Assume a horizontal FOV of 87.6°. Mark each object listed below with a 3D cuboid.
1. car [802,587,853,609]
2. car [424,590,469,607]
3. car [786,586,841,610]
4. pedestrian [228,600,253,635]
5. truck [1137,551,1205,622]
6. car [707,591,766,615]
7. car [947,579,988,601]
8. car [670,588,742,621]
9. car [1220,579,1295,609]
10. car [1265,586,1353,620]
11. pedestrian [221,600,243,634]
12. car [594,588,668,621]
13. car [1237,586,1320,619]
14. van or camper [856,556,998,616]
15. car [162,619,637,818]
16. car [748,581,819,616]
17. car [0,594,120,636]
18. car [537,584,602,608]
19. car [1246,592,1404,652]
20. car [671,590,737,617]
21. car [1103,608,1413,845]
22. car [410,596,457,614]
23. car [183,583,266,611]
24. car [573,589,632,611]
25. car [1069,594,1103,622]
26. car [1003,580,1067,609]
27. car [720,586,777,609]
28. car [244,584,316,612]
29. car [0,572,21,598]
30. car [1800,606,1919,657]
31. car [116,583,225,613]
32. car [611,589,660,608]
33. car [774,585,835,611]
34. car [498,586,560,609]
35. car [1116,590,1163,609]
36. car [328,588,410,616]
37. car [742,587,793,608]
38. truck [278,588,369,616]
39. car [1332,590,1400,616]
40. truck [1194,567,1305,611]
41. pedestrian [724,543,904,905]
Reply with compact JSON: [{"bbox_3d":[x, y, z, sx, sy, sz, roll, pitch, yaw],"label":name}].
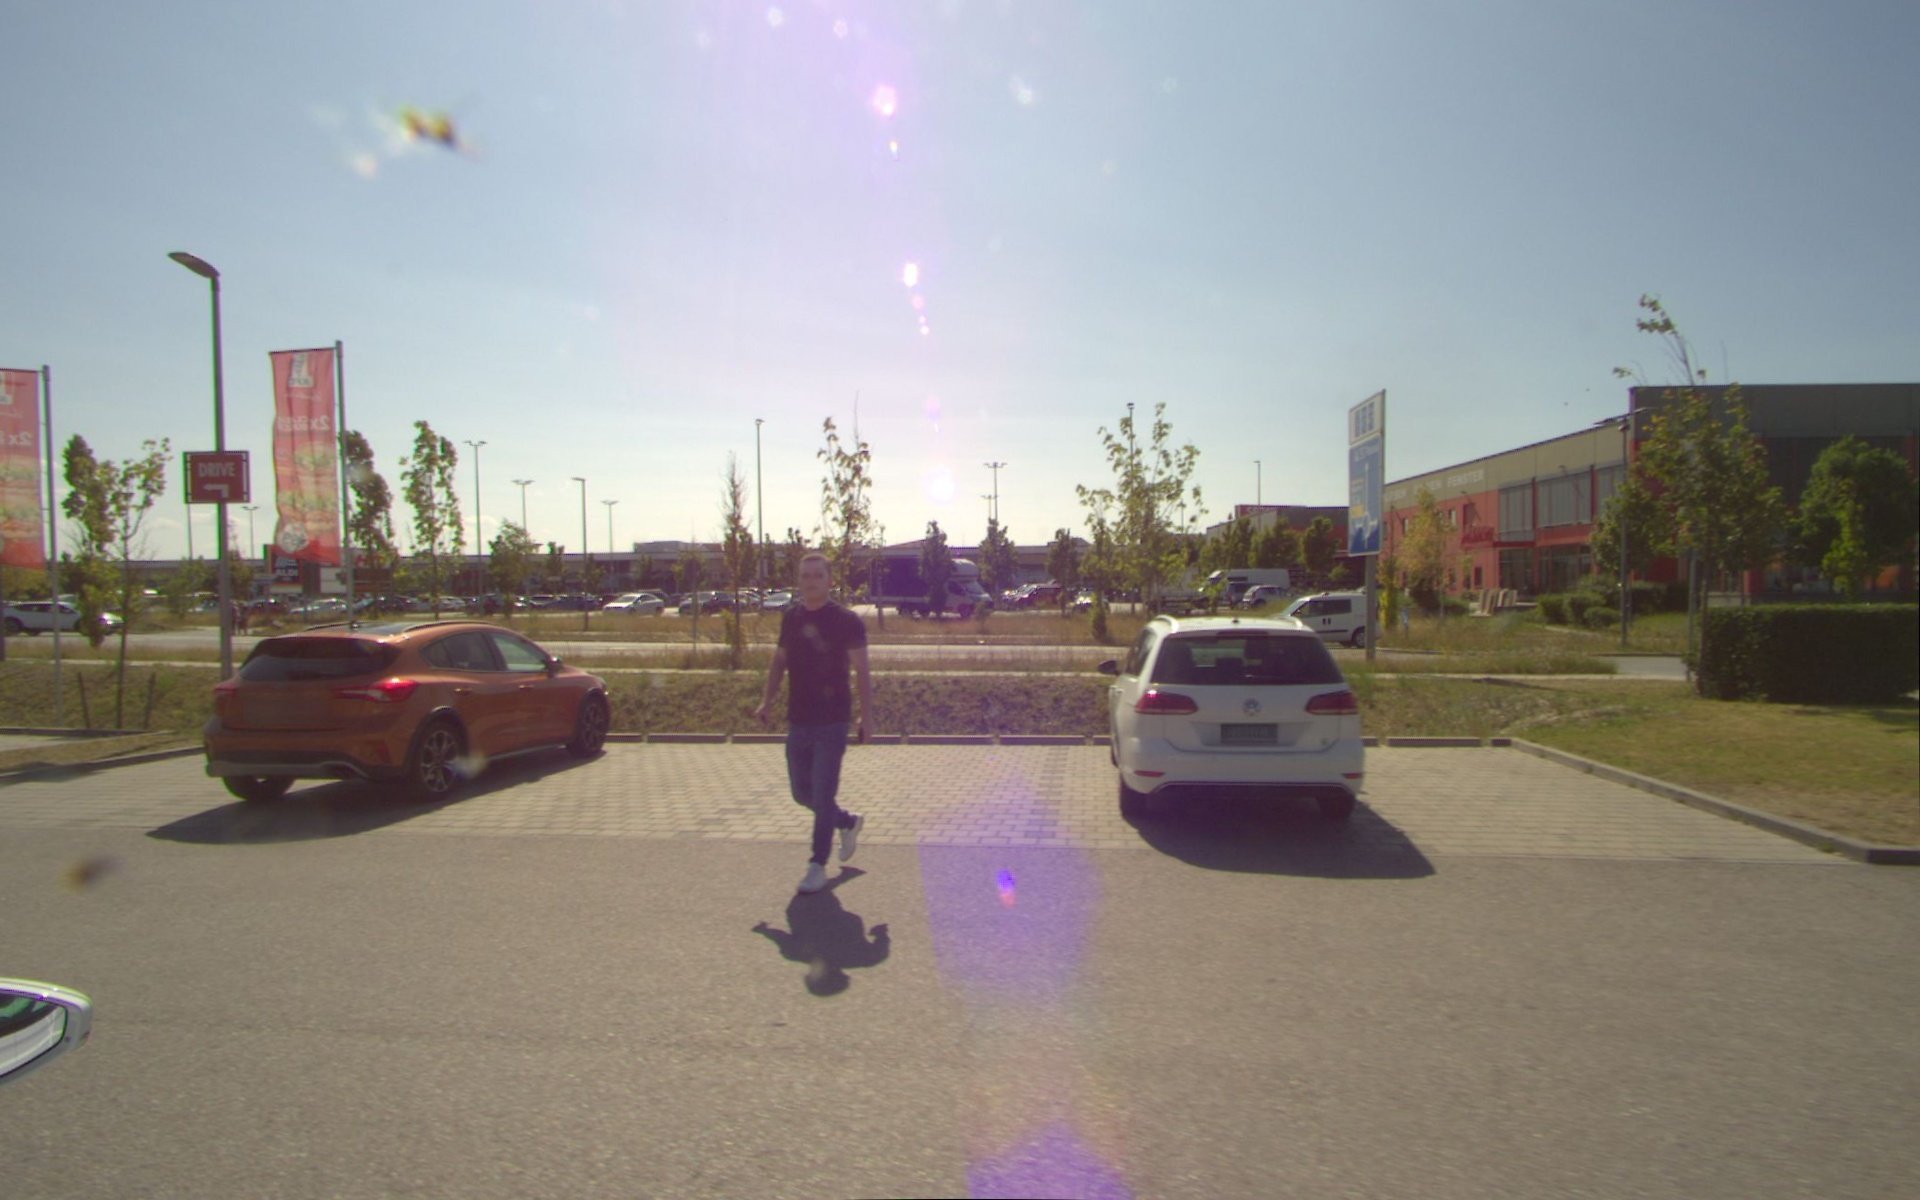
[{"bbox_3d":[-11.715,-0.159,88.820,4.318,1.880,1.955,1,1,0],"label":"car"},{"bbox_3d":[-48.473,-0.138,94.632,3.409,1.573,1.666,0,1,-5],"label":"car"},{"bbox_3d":[-12.100,-0.154,82.853,4.318,1.880,1.955,1,1,0],"label":"car"},{"bbox_3d":[-33.805,0.808,47.045,0.744,1.621,0.690,1,1,26],"label":"pedestrian"},{"bbox_3d":[11.139,-0.665,53.435,2.714,3.527,6.831,1,0,5],"label":"truck"},{"bbox_3d":[-18.111,0.208,81.292,4.318,1.880,1.955,1,1,0],"label":"car"},{"bbox_3d":[0.746,-0.984,97.143,3.922,2.040,2.000,1,1,3],"label":"car"},{"bbox_3d":[-14.989,0.272,59.323,1.923,1.880,4.392,1,0,23],"label":"car"},{"bbox_3d":[19.296,-0.355,65.060,4.318,1.880,1.955,1,1,0],"label":"car"},{"bbox_3d":[19.926,0.172,57.220,4.318,1.880,1.955,1,1,0],"label":"car"},{"bbox_3d":[-34.530,0.807,47.486,0.656,1.577,0.623,1,1,26],"label":"pedestrian"},{"bbox_3d":[-19.874,0.259,60.660,1.966,1.880,4.274,1,0,23],"label":"car"},{"bbox_3d":[19.052,0.160,59.956,4.318,1.880,1.955,1,1,0],"label":"car"},{"bbox_3d":[-1.924,-0.775,55.467,7.942,3.143,2.405,1,1,34],"label":"van or camper"},{"bbox_3d":[-5.007,0.937,9.800,1.798,1.488,4.353,0,-1,8],"label":"car"},{"bbox_3d":[-10.035,-0.089,57.237,1.923,1.880,4.392,1,0,23],"label":"car"},{"bbox_3d":[-42.106,0.691,46.488,4.328,1.870,1.996,0,1,-16],"label":"car"},{"bbox_3d":[-31.480,-0.324,80.770,4.484,1.880,1.955,1,1,0],"label":"car"},{"bbox_3d":[12.480,0.731,34.490,4.800,1.980,1.878,1,0,7],"label":"car"},{"bbox_3d":[-18.674,0.235,73.123,4.318,1.880,1.955,1,1,0],"label":"car"},{"bbox_3d":[2.199,0.841,8.603,1.798,1.488,4.482,0,-1,7],"label":"car"},{"bbox_3d":[-48.354,0.447,91.998,3.409,1.573,1.666,0,1,-5],"label":"car"},{"bbox_3d":[-56.265,-0.204,76.728,1.962,2.040,5.176,1,0,10],"label":"car"},{"bbox_3d":[-31.691,-0.037,88.851,4.484,1.880,1.955,1,1,0],"label":"car"},{"bbox_3d":[6.789,0.414,54.313,1.623,1.479,3.965,1,0,5],"label":"car"},{"bbox_3d":[4.993,-0.356,67.135,4.184,1.880,1.869,1,1,0],"label":"car"},{"bbox_3d":[-17.665,-0.205,83.836,4.318,1.880,1.955,1,1,0],"label":"car"},{"bbox_3d":[-51.365,-0.118,75.696,1.966,2.040,4.079,1,0,23],"label":"car"},{"bbox_3d":[-78.363,-1.210,79.701,1.962,2.040,5.073,1,0,10],"label":"car"},{"bbox_3d":[31.782,1.046,33.846,4.718,1.646,1.997,1,0,16],"label":"car"},{"bbox_3d":[-61.467,-0.169,78.130,2.764,2.267,6.305,1,0,13],"label":"car"},{"bbox_3d":[-32.802,-0.170,101.404,4.318,1.880,1.955,1,1,0],"label":"car"},{"bbox_3d":[-11.686,-0.139,75.600,4.318,1.880,1.955,1,1,0],"label":"car"},{"bbox_3d":[-39.432,-0.216,91.749,4.836,2.040,2.081,0,1,-4],"label":"car"},{"bbox_3d":[18.103,-0.039,101.187,4.318,1.880,1.955,1,1,0],"label":"car"},{"bbox_3d":[-40.633,0.122,68.945,1.965,1.870,4.722,1,0,20],"label":"car"},{"bbox_3d":[-17.579,-0.216,91.750,4.319,1.880,1.955,0,1,-3],"label":"car"},{"bbox_3d":[-45.179,0.121,71.186,1.965,1.888,5.422,1,0,19],"label":"truck"},{"bbox_3d":[30.580,0.240,75.578,4.318,1.880,1.955,1,1,0],"label":"car"},{"bbox_3d":[19.536,-0.716,67.817,6.920,2.852,1.955,1,1,0],"label":"truck"},{"bbox_3d":[-0.782,0.640,5.630,0.712,1.832,0.994,0,0,11],"label":"pedestrian"}]
